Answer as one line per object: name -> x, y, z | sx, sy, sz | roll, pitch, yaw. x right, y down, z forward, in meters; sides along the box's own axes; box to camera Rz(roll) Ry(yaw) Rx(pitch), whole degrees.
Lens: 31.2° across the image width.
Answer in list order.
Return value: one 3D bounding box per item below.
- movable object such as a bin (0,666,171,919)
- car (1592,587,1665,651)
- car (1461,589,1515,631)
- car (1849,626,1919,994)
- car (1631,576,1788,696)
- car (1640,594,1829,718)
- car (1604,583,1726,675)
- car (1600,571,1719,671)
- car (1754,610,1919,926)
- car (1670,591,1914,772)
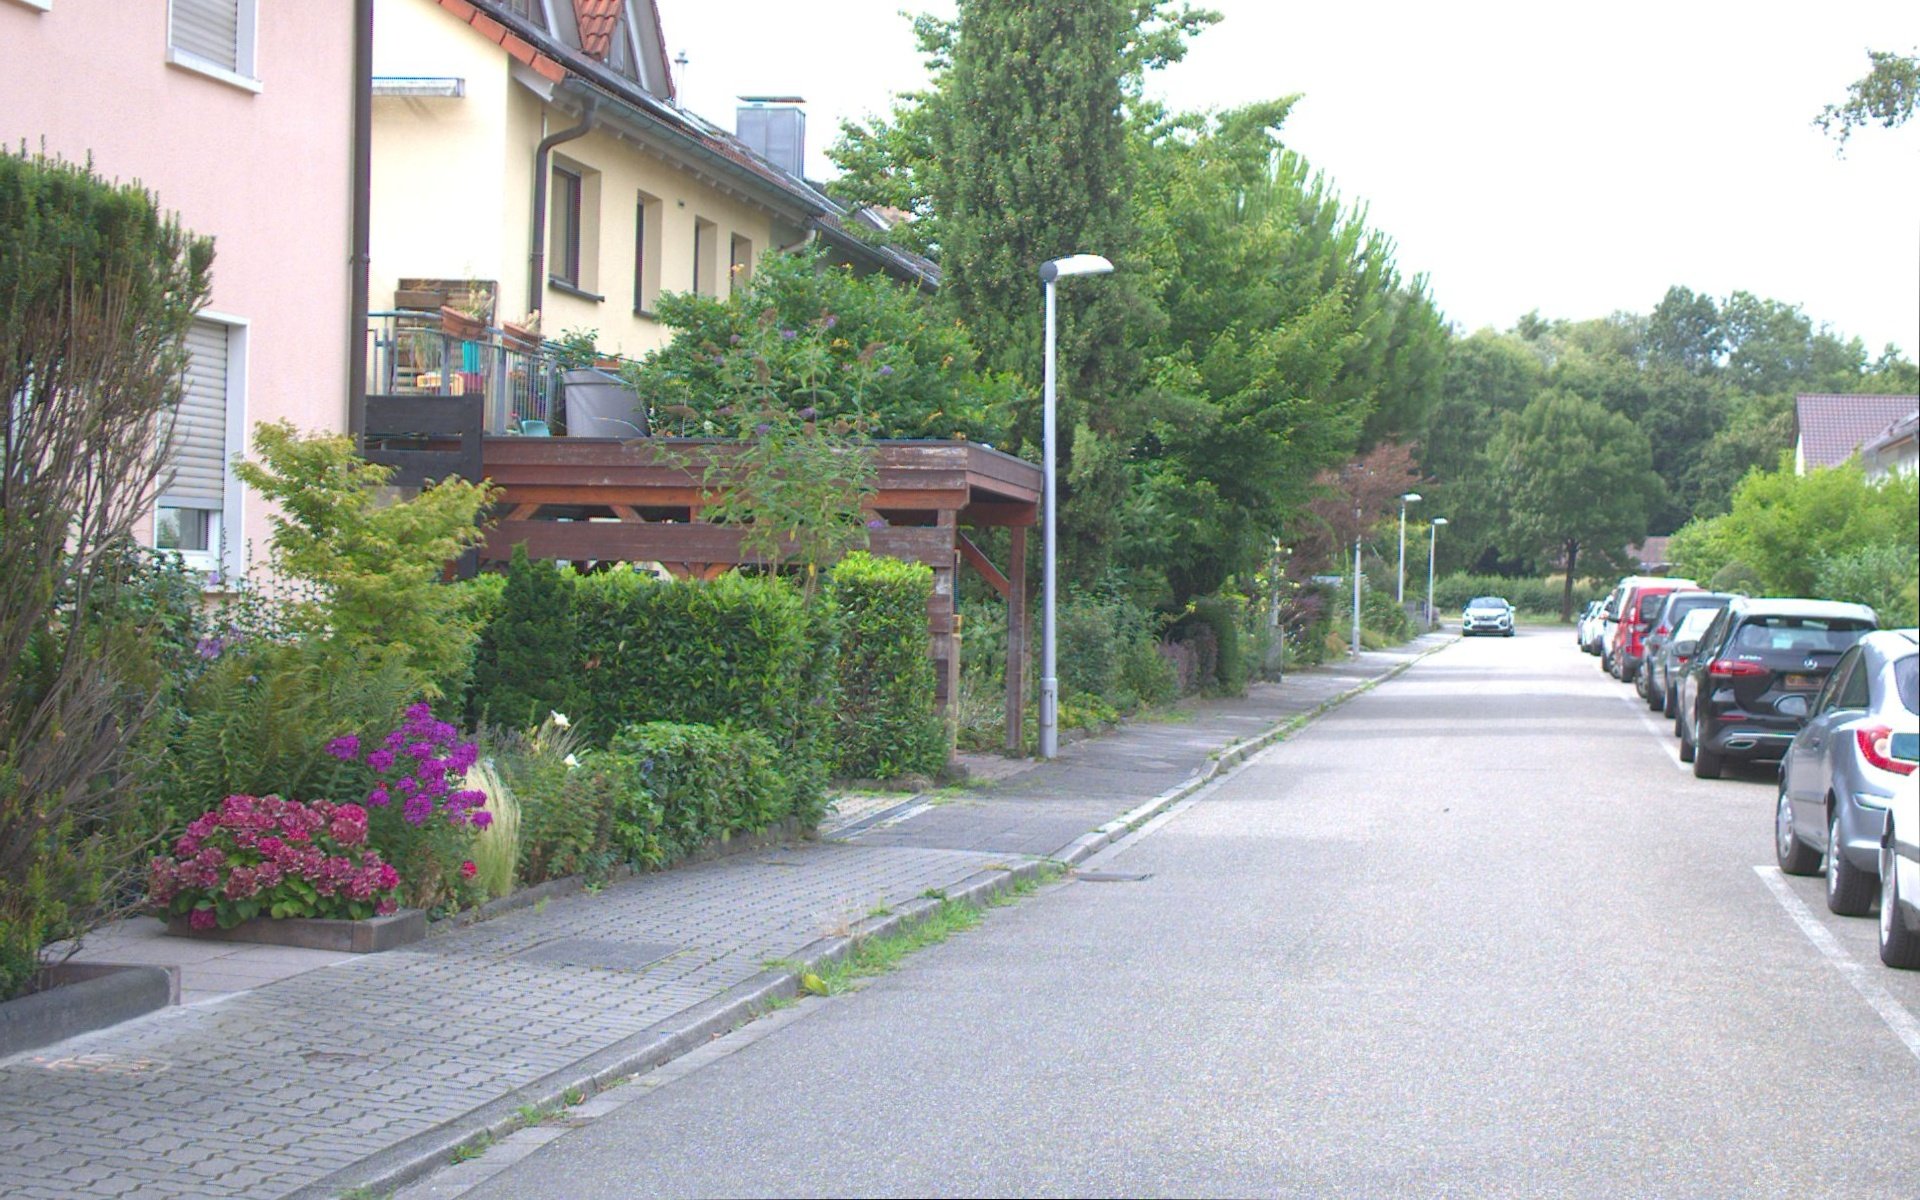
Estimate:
movable object such as a bin -> -3.368, 0.730, 13.216 | 0.489, 0.928, 0.506 | 1, 0, 9
car -> 17.206, 0.479, 88.546 | 1.714, 1.538, 3.972 | 3, 1, 10
car -> 20.558, 0.373, 133.665 | 1.935, 1.551, 4.632 | 1, 0, 10
car -> 4.521, 0.825, 13.143 | 1.694, 1.360, 4.696 | 1, 0, 9
car -> 10.953, 0.487, 50.457 | 1.868, 1.648, 4.463 | 1, 0, 8
car -> 9.868, 0.673, 44.112 | 1.868, 1.402, 4.766 | 3, 1, 7
car -> 13.171, 0.518, 64.449 | 1.811, 1.645, 4.409 | 0, 0, 6
car -> 14.079, 0.395, 69.364 | 2.021, 1.940, 4.746 | 0, 0, 8
car -> 5.376, 0.824, 18.555 | 1.742, 1.466, 4.216 | 1, 1, 8
car -> 7.375, 0.666, 30.824 | 1.750, 1.462, 4.646 | 1, 0, 9
